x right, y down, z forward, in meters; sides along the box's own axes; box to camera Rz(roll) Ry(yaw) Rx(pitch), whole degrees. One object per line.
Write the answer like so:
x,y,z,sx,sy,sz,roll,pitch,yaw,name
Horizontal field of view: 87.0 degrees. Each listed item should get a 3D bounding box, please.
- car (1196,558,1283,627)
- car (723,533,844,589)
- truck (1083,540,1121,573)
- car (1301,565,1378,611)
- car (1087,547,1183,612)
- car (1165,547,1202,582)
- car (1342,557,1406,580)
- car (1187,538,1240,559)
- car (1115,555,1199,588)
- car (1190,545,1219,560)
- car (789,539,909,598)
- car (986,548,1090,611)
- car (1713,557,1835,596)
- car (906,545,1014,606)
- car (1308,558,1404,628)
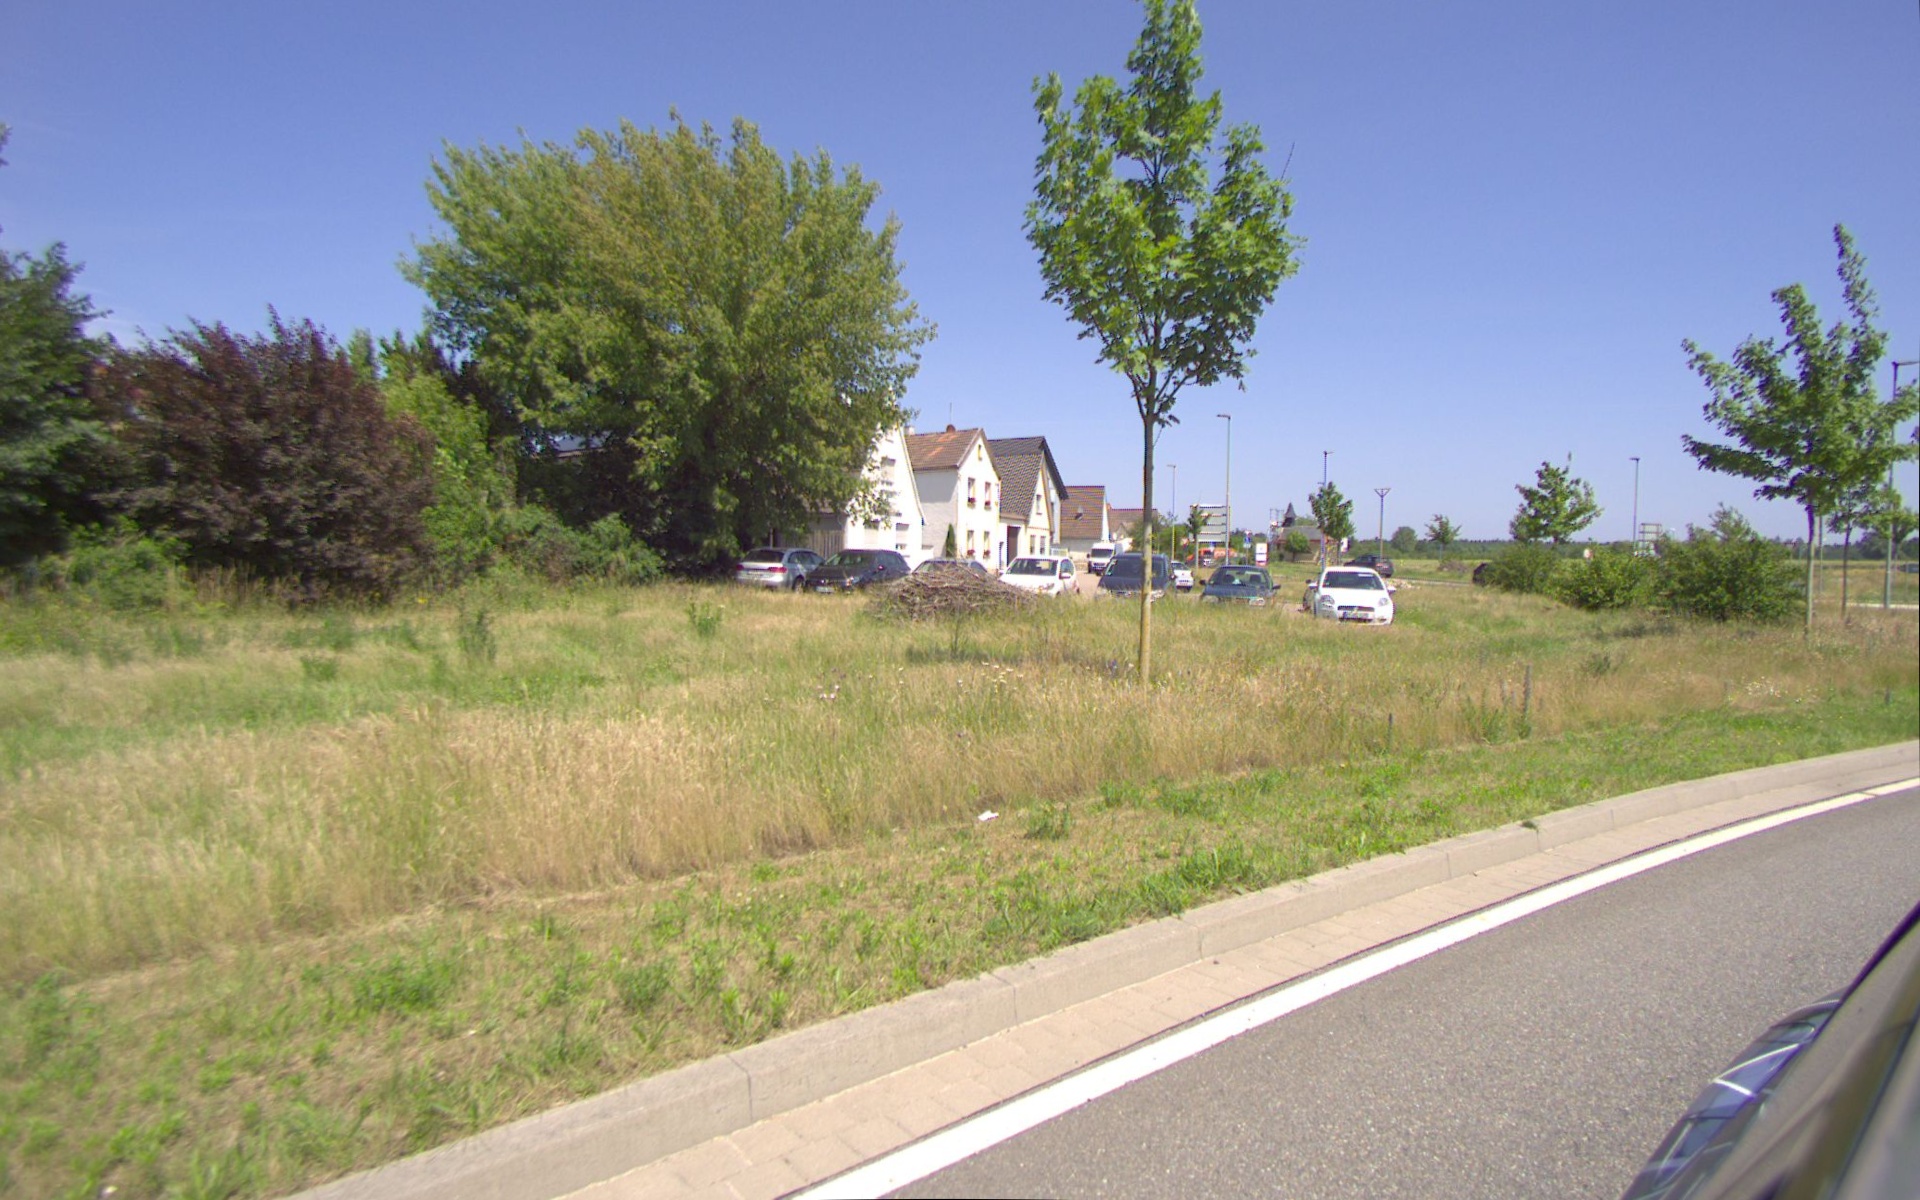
6.693,-0.209,23.986,1.751,1.460,3.943,1,1,18,car
-4.910,-1.081,28.673,1.750,1.460,3.944,1,1,18,car
11.384,-3.493,80.850,2.207,2.536,5.608,1,3,17,truck
12.354,-0.432,33.151,1.720,1.327,3.988,1,3,12,car
4.364,-0.506,24.831,1.751,1.460,3.943,1,1,18,car
12.497,-1.992,56.405,1.828,1.852,3.984,1,3,15,car
31.046,-2.387,76.077,1.913,1.669,4.900,-1,2,-13,car
32.276,-6.604,128.948,6.088,2.615,2.331,2,3,31,car
9.128,-1.373,47.165,1.618,1.409,4.006,-1,3,-30,car
26.277,-5.115,108.803,1.861,1.636,4.005,1,3,-4,car
-2.895,-0.827,27.231,1.750,1.460,3.944,1,1,18,car
2.091,-0.531,26.116,1.751,1.460,3.943,1,1,18,car
36.378,-1.085,45.377,1.686,1.580,4.160,-1,3,-9,car
0.094,-0.639,26.720,1.750,1.460,3.945,1,1,17,car
9.211,-0.241,23.809,1.723,1.445,3.981,1,3,16,car
